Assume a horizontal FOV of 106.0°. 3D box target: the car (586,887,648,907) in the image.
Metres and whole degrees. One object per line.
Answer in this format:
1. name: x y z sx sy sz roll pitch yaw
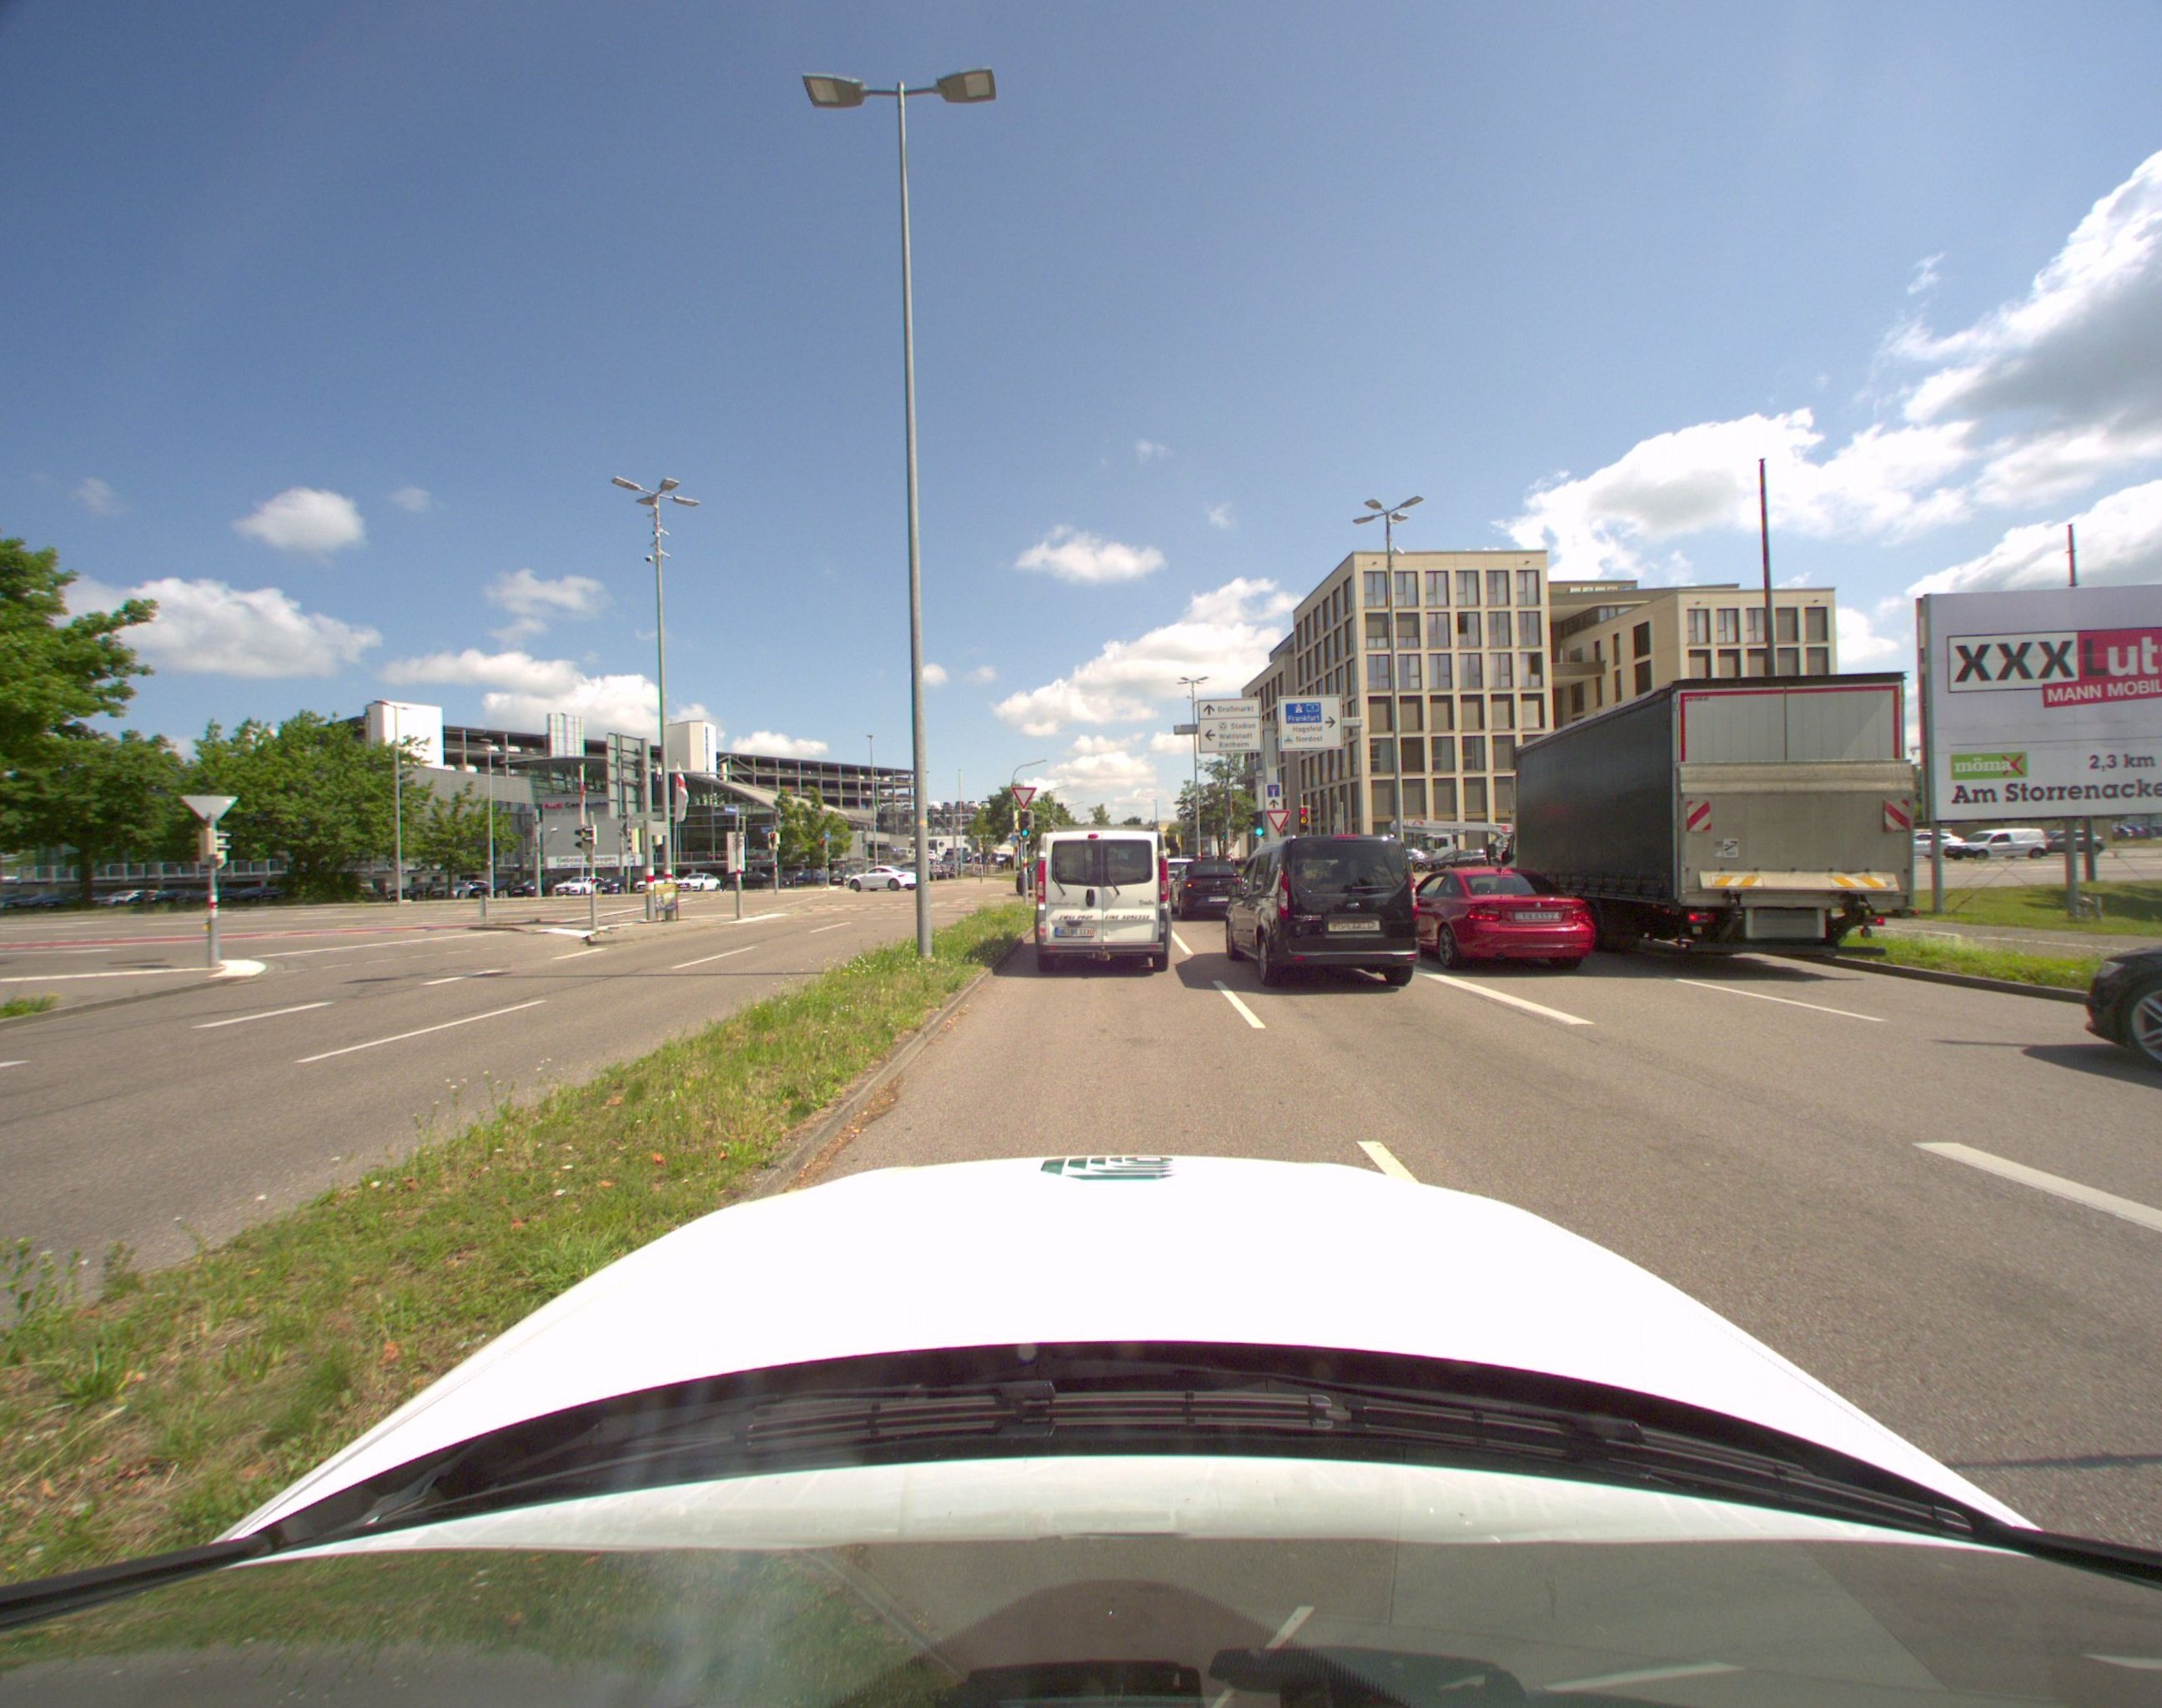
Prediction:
1. car: -32.635 2.999 57.435 1.896 1.297 4.585 0 -1 -3

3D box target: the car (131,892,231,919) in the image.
1. car: -62.091 3.524 56.310 1.896 1.678 4.585 0 -1 -3

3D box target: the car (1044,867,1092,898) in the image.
1. car: -0.519 1.190 34.951 1.766 1.201 4.003 -1 -1 3

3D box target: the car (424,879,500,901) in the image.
1. car: -43.079 2.520 56.835 1.896 1.405 4.583 0 -4 -3

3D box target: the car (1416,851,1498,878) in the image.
1. car: 23.056 0.660 49.981 4.184 1.627 1.828 0 -1 0

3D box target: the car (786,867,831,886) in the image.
1. car: -19.536 1.621 58.603 1.896 1.297 4.585 0 -1 -3

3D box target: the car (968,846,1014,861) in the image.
1. car: -12.594 -0.084 114.469 6.373 2.102 1.763 0 -1 -4

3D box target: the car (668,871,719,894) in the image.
1. car: -27.357 2.052 57.627 1.786 1.464 3.995 -2 -3 -3

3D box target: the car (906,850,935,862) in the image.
1. car: -22.584 0.281 114.799 3.987 1.552 1.759 0 -1 -10

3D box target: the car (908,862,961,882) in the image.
1. car: -13.756 1.701 76.490 4.562 1.678 1.906 -2 0 -2

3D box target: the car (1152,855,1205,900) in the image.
1. car: 3.763 0.878 31.866 1.766 1.629 4.003 -1 -1 3

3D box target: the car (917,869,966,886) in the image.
1. car: -13.987 2.355 81.921 4.562 1.678 1.906 0 -1 -2

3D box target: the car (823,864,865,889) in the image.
1. car: -16.991 1.614 58.588 1.896 1.678 4.585 0 -1 -3

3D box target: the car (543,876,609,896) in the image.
1. car: -35.465 2.206 57.338 1.896 1.297 4.585 0 -1 -3

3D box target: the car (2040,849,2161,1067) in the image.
1. car: 8.167 0.679 3.889 1.767 1.478 4.681 -1 -1 2

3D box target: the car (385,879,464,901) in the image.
1. car: -45.825 2.510 56.945 1.896 1.405 4.584 0 -2 -3

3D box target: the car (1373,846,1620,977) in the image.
1. car: 6.028 0.787 12.473 1.850 1.656 4.223 -1 -1 4

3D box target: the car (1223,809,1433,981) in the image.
1. car: 3.126 0.486 11.176 1.816 1.905 4.003 -1 -1 3

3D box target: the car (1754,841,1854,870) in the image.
1. car: 47.478 0.132 53.569 4.683 1.838 1.832 -1 -1 8

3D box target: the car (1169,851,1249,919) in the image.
1. car: 3.356 0.782 21.981 1.766 1.629 4.004 -1 -1 4

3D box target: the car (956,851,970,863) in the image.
1. car: -15.553 0.367 107.556 1.557 1.552 3.598 0 -1 -3

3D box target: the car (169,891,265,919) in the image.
1. car: -59.834 3.504 56.536 1.896 1.678 4.585 0 -1 -3

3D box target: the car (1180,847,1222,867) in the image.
1. car: 12.367 0.329 84.107 3.982 2.014 1.995 0 -1 -7

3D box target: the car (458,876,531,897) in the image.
1. car: -40.848 2.318 56.845 1.896 1.384 4.584 0 -3 -3

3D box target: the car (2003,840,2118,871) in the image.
1. car: 61.424 0.108 51.140 4.401 1.838 1.834 -1 -1 12

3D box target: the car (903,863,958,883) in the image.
1. car: -13.667 1.700 74.053 4.562 1.678 1.906 -2 0 -2

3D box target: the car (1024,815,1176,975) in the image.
1. car: 0.318 0.563 12.951 1.965 2.060 4.566 -1 -1 2

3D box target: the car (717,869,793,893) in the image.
1. car: -23.440 1.946 58.681 4.731 1.464 1.793 -2 -3 -4

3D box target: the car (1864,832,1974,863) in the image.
1. car: 53.932 -0.397 52.511 4.667 1.838 1.834 -1 -1 12

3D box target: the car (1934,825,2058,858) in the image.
1. car: 54.503 -0.747 48.617 4.754 1.838 1.834 -1 -1 12

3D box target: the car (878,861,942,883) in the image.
1. car: -13.250 1.402 63.172 4.562 1.678 1.906 0 -1 -2

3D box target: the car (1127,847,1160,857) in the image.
1. car: 12.223 -0.363 160.848 6.321 2.014 2.572 0 -1 -1

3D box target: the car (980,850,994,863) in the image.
1. car: -12.366 0.348 106.968 1.557 1.552 3.598 -1 -1 -3

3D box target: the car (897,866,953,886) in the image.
1. car: -13.660 1.913 71.642 4.562 1.678 1.906 0 -1 -2

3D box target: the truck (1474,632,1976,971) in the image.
1. truck: 9.910 -0.535 14.399 3.191 4.027 9.099 -1 -1 12

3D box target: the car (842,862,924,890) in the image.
1. car: -10.661 1.165 43.847 3.950 1.442 1.871 -1 -1 26

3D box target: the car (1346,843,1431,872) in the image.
1. car: 17.624 0.206 46.727 4.192 1.627 1.824 0 -1 -6

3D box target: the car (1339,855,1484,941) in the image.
1. car: 7.402 0.897 18.730 1.850 1.655 4.224 3 0 5

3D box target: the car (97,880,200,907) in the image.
1. car: -64.250 2.703 56.219 1.896 1.678 4.585 0 -1 -3

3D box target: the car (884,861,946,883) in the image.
1. car: -13.346 1.461 65.576 4.562 1.678 1.906 0 -1 -2

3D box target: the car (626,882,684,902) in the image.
1. car: -30.116 2.641 57.721 1.896 1.297 4.585 0 -1 -3

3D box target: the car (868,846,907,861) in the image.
1. car: -24.308 -0.108 102.357 4.432 1.801 1.762 0 -1 -4

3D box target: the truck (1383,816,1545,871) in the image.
1. truck: 25.320 -0.667 54.002 9.737 3.555 2.670 0 -1 -6

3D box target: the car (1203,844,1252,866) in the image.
1. car: 13.368 0.104 74.339 3.982 2.014 1.995 0 -1 -7

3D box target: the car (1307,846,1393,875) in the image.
1. car: 17.615 0.426 53.426 4.969 1.838 1.996 0 -1 -6
